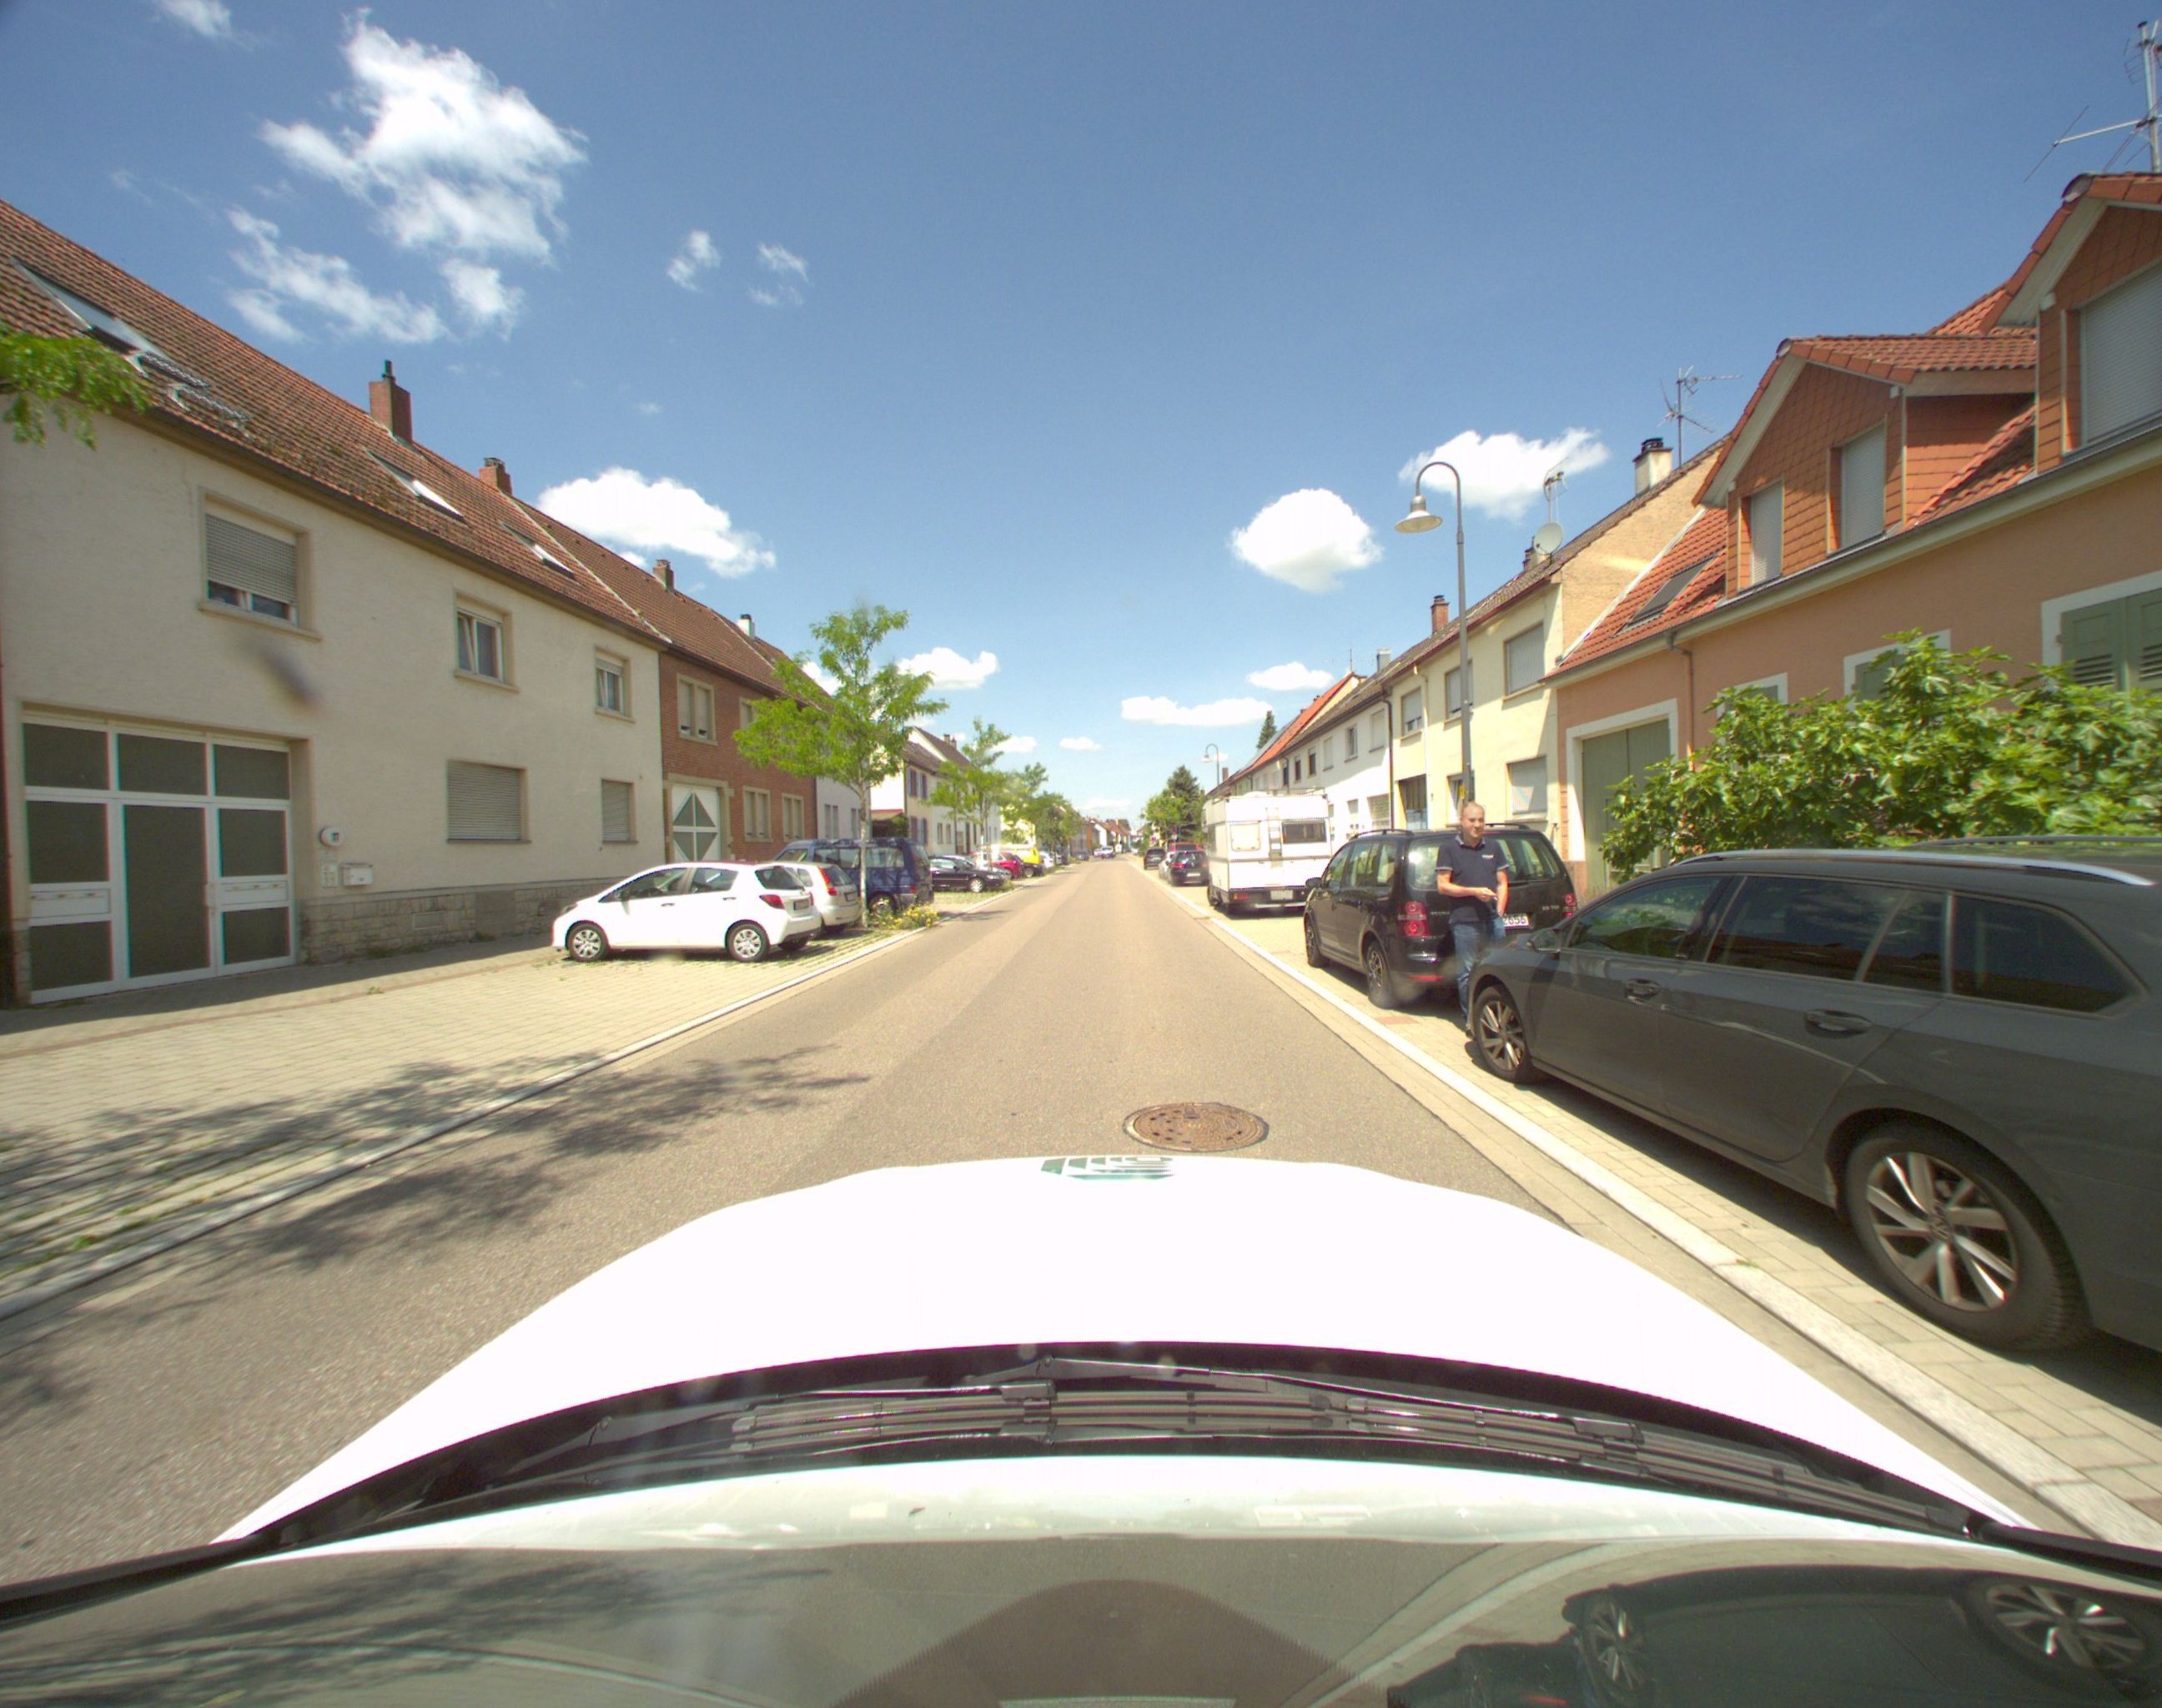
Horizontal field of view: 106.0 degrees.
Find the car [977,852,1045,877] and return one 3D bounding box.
[{"bbox_3d":[-4.331,0.643,50.829,3.994,1.459,1.756,0,0,2],"label":"car"}]

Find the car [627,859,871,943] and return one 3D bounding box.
[{"bbox_3d":[-6.233,0.856,15.555,3.899,1.488,1.774,0,0,4],"label":"car"}]

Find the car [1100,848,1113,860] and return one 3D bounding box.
[{"bbox_3d":[4.083,0.004,130.197,2.015,1.950,4.900,-2,0,1],"label":"car"}]

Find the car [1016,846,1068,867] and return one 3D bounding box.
[{"bbox_3d":[-3.615,0.273,75.757,4.682,1.923,1.938,0,-1,2],"label":"car"}]

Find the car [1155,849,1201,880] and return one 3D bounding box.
[{"bbox_3d":[4.933,0.488,41.809,1.826,1.465,4.520,-1,0,0],"label":"car"}]

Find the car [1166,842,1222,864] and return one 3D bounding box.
[{"bbox_3d":[9.863,-0.086,71.387,4.602,1.893,2.021,0,-1,1],"label":"car"}]

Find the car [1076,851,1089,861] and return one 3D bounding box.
[{"bbox_3d":[0.249,0.281,120.682,1.810,1.433,4.139,2,1,0],"label":"car"}]

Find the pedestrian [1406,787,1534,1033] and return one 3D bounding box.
[{"bbox_3d":[3.065,0.426,6.461,0.713,1.853,0.578,-1,0,2],"label":"pedestrian"}]

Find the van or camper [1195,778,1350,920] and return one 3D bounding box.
[{"bbox_3d":[4.333,-0.134,19.645,2.464,2.810,5.793,-3,0,2],"label":"van or camper"}]

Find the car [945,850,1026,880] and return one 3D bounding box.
[{"bbox_3d":[-5.323,0.608,45.620,4.238,1.611,1.843,0,0,1],"label":"car"}]

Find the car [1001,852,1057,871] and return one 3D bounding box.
[{"bbox_3d":[-4.216,0.589,66.065,4.276,1.468,1.775,-1,-1,3],"label":"car"}]

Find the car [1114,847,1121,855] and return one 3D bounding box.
[{"bbox_3d":[10.761,-0.794,239.102,2.035,2.312,3.777,0,-1,6],"label":"car"}]

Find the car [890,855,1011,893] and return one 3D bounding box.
[{"bbox_3d":[-5.140,0.775,32.493,4.507,1.425,1.796,0,0,1],"label":"car"}]

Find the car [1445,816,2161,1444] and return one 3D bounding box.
[{"bbox_3d":[3.451,0.633,3.624,1.761,1.488,4.296,-1,0,1],"label":"car"}]

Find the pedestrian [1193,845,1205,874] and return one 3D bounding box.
[{"bbox_3d":[7.211,0.335,49.783,0.555,1.749,0.673,-2,-1,3],"label":"pedestrian"}]

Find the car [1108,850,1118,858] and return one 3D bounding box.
[{"bbox_3d":[6.032,0.011,155.331,1.756,1.523,4.050,-3,0,1],"label":"car"}]

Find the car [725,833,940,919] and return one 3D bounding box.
[{"bbox_3d":[-5.992,0.516,19.999,4.592,1.996,1.955,0,0,3],"label":"car"}]

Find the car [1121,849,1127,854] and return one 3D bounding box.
[{"bbox_3d":[13.688,-0.767,261.234,1.683,1.504,3.777,0,0,6],"label":"car"}]

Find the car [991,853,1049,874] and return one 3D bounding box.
[{"bbox_3d":[-4.381,0.655,58.047,4.067,1.468,1.750,0,0,-7],"label":"car"}]

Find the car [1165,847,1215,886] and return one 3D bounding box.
[{"bbox_3d":[4.556,0.495,34.595,1.760,1.529,4.010,-1,0,3],"label":"car"}]

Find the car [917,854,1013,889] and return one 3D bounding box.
[{"bbox_3d":[-5.130,0.765,36.443,4.041,1.478,1.775,0,0,-1],"label":"car"}]

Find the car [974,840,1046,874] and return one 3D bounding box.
[{"bbox_3d":[-4.642,0.192,53.556,4.491,2.177,1.926,0,0,2],"label":"car"}]

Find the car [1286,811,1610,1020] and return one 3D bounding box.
[{"bbox_3d":[3.597,0.511,8.951,1.760,1.705,4.328,-1,0,3],"label":"car"}]

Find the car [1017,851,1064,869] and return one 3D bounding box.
[{"bbox_3d":[-3.588,0.522,72.933,4.171,1.568,1.773,0,-1,-2],"label":"car"}]

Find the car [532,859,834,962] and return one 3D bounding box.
[{"bbox_3d":[-6.171,0.848,12.922,3.899,1.488,1.774,0,0,4],"label":"car"}]

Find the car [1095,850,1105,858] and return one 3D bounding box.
[{"bbox_3d":[3.903,0.024,169.536,1.841,1.659,4.006,1,0,5],"label":"car"}]

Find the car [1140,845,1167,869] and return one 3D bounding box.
[{"bbox_3d":[5.488,0.215,61.738,1.855,1.635,4.452,-4,1,5],"label":"car"}]
